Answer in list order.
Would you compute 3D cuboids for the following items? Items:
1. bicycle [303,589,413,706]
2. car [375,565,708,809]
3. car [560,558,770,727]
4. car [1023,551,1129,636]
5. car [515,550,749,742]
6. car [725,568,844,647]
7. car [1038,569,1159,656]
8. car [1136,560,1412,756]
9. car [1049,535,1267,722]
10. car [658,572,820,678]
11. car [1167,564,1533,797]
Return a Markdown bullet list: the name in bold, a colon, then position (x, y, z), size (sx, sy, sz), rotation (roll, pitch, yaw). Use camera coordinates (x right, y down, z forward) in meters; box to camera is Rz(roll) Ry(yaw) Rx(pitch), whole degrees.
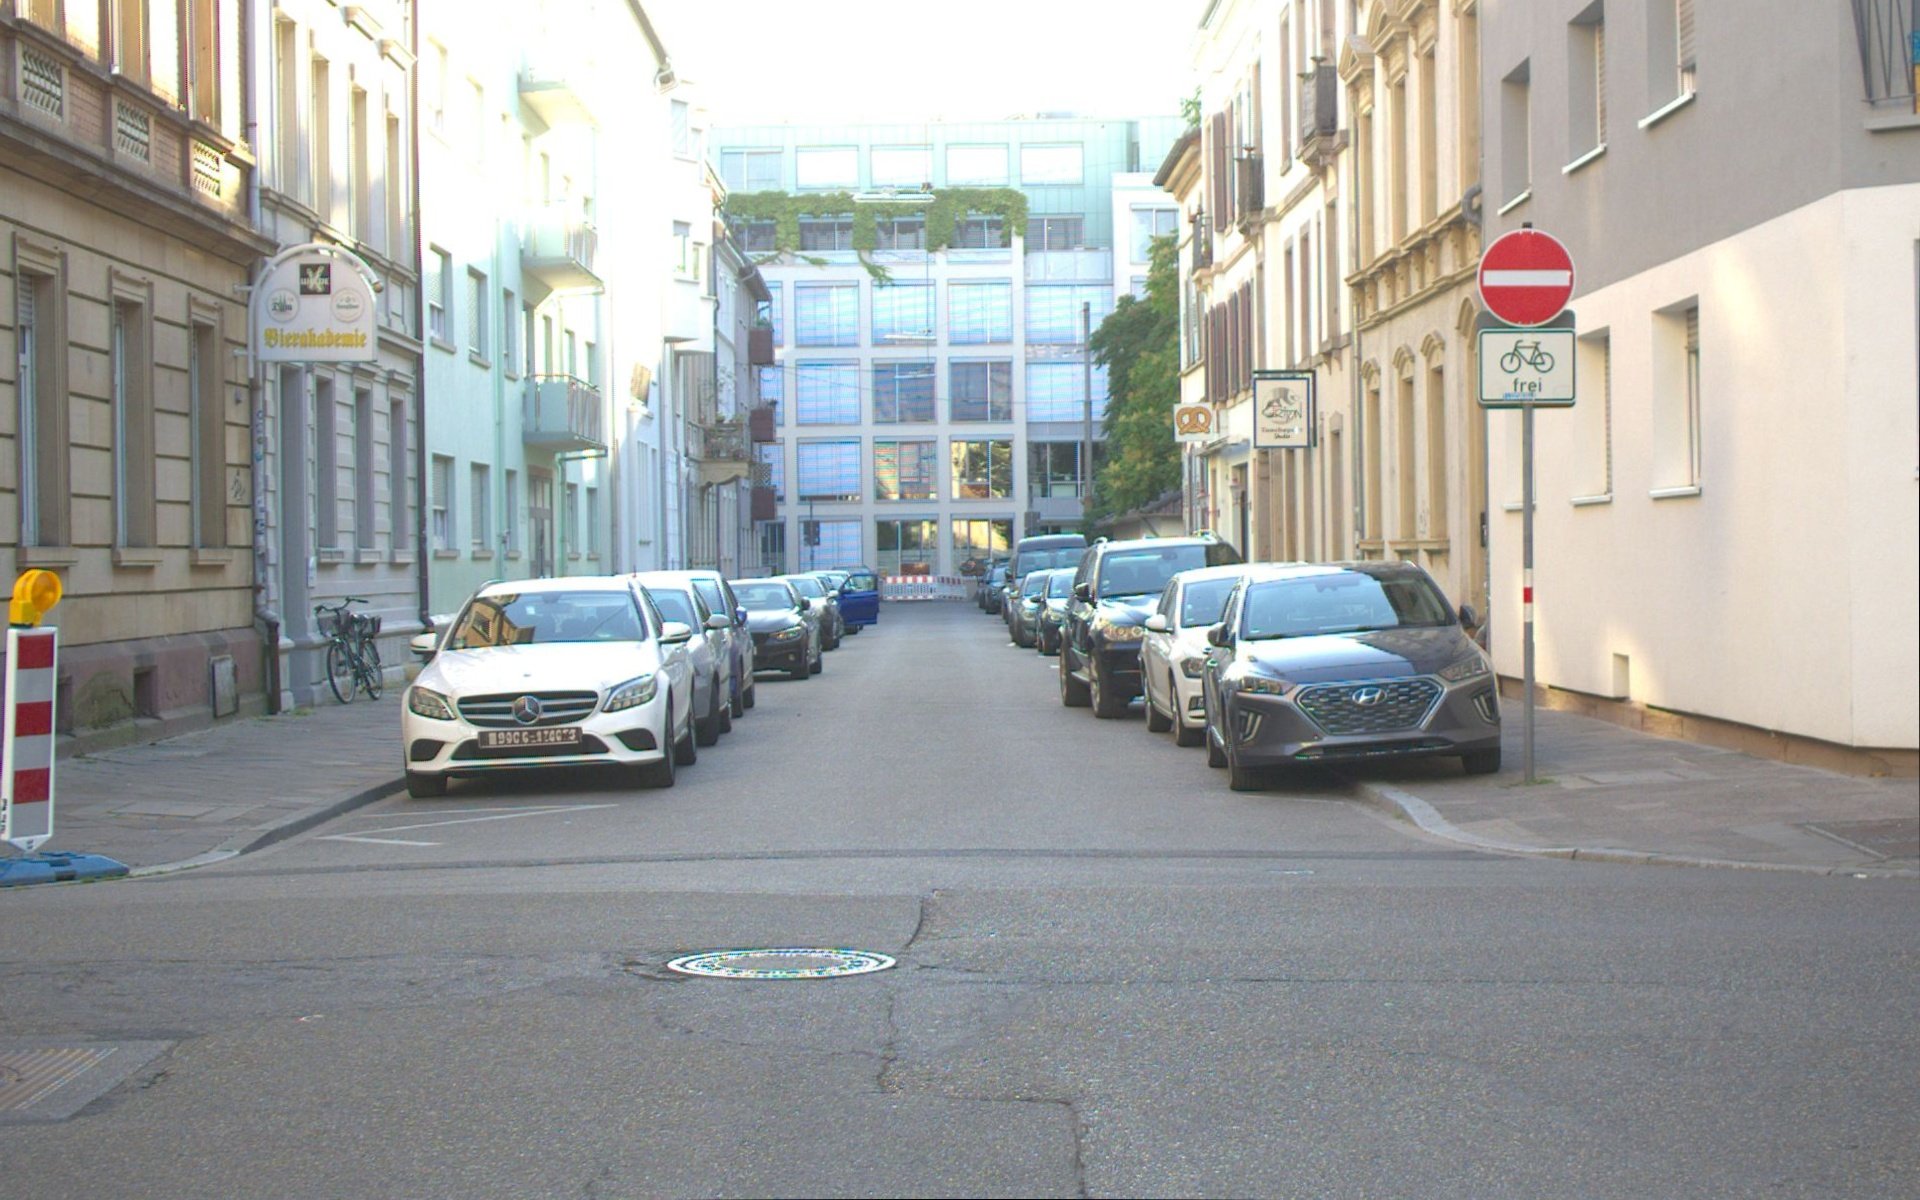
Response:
- **bicycle**: position (-6.279, 0.474, 35.996), size (0.737, 1.157, 2.461), rotation (0, 1, 0)
- **car**: position (-2.911, 0.548, 24.823), size (1.993, 1.559, 4.506), rotation (-1, 1, -2)
- **car**: position (-3.032, 0.402, 35.993), size (1.785, 1.653, 3.816), rotation (0, 1, 1)
- **car**: position (2.357, -0.153, 70.812), size (1.993, 1.694, 4.000), rotation (0, 1, -1)
- **car**: position (-2.820, 0.355, 30.252), size (1.625, 1.571, 3.754), rotation (0, 1, 1)
- **car**: position (-3.311, 0.116, 65.284), size (2.172, 1.413, 4.000), rotation (0, 1, -2)
- **car**: position (2.393, 0.186, 60.127), size (1.993, 1.446, 4.000), rotation (0, 1, 1)
- **car**: position (2.624, 0.446, 29.575), size (1.963, 1.552, 3.889), rotation (0, 1, -1)
- **car**: position (1.950, 0.243, 34.993), size (1.893, 1.778, 4.000), rotation (0, 1, -1)
- **car**: position (-2.984, 0.307, 47.251), size (1.993, 1.350, 4.429), rotation (0, 1, -1)
- **car**: position (2.569, 0.487, 23.503), size (1.938, 1.367, 3.789), rotation (-2, 1, -1)
